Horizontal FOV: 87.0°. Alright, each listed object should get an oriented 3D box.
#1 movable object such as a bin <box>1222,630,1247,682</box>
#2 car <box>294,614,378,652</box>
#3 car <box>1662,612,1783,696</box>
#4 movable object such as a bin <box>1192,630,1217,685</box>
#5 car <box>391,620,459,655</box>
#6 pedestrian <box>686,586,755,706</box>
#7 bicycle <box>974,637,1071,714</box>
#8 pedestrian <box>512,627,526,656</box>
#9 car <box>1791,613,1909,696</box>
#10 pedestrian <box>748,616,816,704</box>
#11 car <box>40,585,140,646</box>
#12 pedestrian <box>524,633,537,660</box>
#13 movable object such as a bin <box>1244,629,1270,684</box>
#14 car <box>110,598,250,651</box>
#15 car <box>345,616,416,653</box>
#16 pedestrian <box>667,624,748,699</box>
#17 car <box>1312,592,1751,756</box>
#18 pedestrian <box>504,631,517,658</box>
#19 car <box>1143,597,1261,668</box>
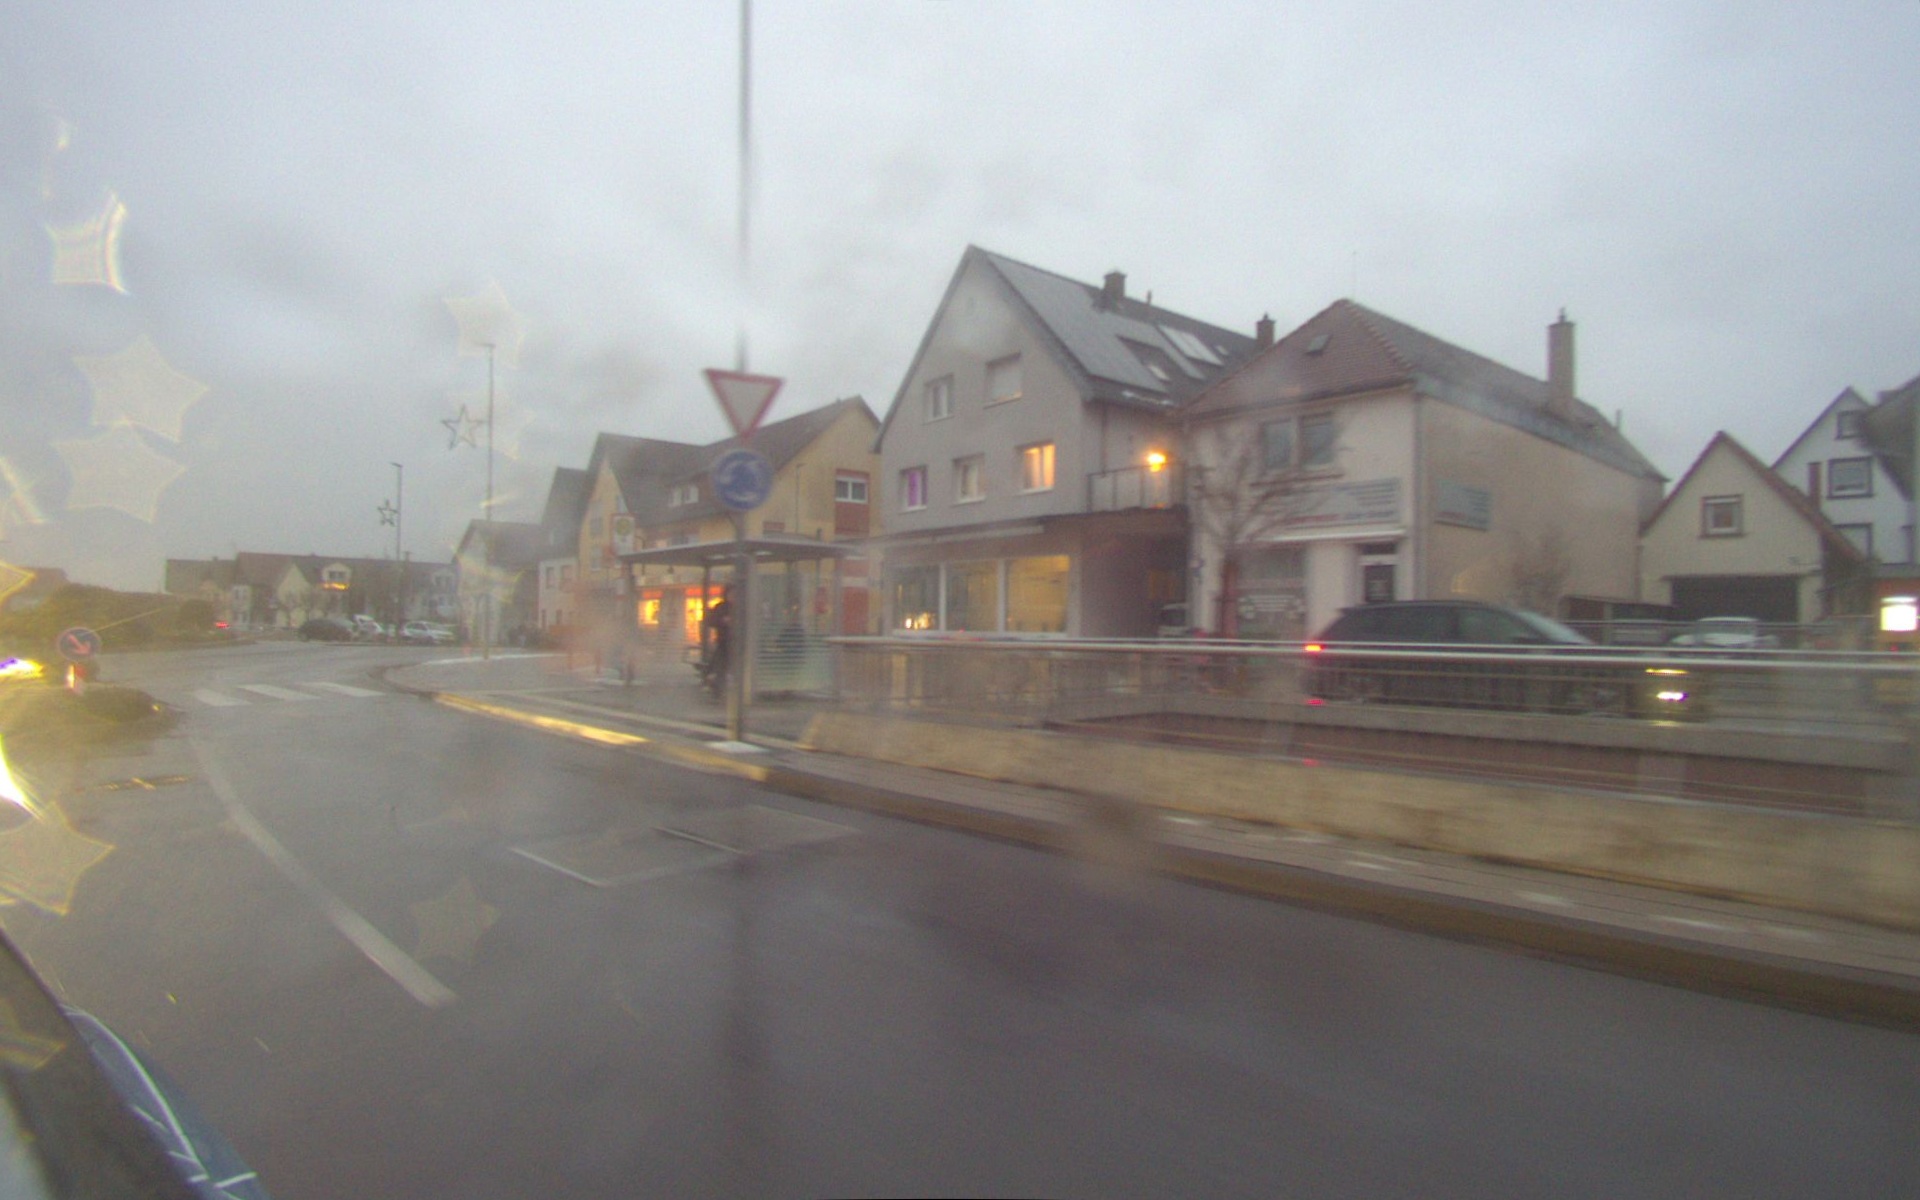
[{"bbox_3d":[6.123,1.238,22.590,0.284,1.129,0.454,0,1,-44],"label":"movable object such as a bin"},{"bbox_3d":[-35.986,1.855,58.366,3.962,2.010,1.963,1,1,15],"label":"car"},{"bbox_3d":[19.950,1.429,26.447,3.527,2.034,1.840,4,-5,-41],"label":"car"},{"bbox_3d":[5.589,1.297,23.152,0.284,1.219,0.454,0,1,-44],"label":"movable object such as a bin"},{"bbox_3d":[-33.279,2.300,62.923,3.853,1.895,1.918,1,1,27],"label":"car"},{"bbox_3d":[-3.644,0.684,15.387,0.687,1.755,0.740,-2,-1,41],"label":"pedestrian"},{"bbox_3d":[0.873,1.050,14.573,0.463,1.017,1.744,1,-2,-33],"label":"bicycle"},{"bbox_3d":[-25.952,2.446,59.556,0.574,1.623,0.500,0,1,-45],"label":"pedestrian"},{"bbox_3d":[21.563,1.333,24.488,3.607,1.855,1.678,4,-5,-41],"label":"car"},{"bbox_3d":[-2.684,0.885,15.252,0.677,1.281,0.751,0,-1,-45],"label":"pedestrian"},{"bbox_3d":[-30.862,0.490,36.029,2.024,2.002,4.551,0,1,-32],"label":"car"},{"bbox_3d":[-26.855,2.890,63.243,0.574,1.623,0.500,0,1,-45],"label":"pedestrian"},{"bbox_3d":[6.509,1.233,22.149,0.284,1.151,0.454,0,1,-44],"label":"movable object such as a bin"},{"bbox_3d":[-32.234,0.984,41.888,4.407,2.029,1.998,1,1,4],"label":"car"},{"bbox_3d":[-34.764,2.048,60.720,3.953,2.029,1.908,1,1,27],"label":"car"},{"bbox_3d":[-4.124,0.993,16.541,0.976,1.167,0.903,0,-3,-40],"label":"pedestrian"},{"bbox_3d":[7.052,0.886,12.911,1.734,1.714,4.568,4,-5,-43],"label":"car"},{"bbox_3d":[-27.479,2.727,61.831,0.574,1.623,0.500,0,1,-45],"label":"pedestrian"},{"bbox_3d":[6.755,0.888,28.091,3.373,1.867,1.515,2,-1,-41],"label":"car"}]
